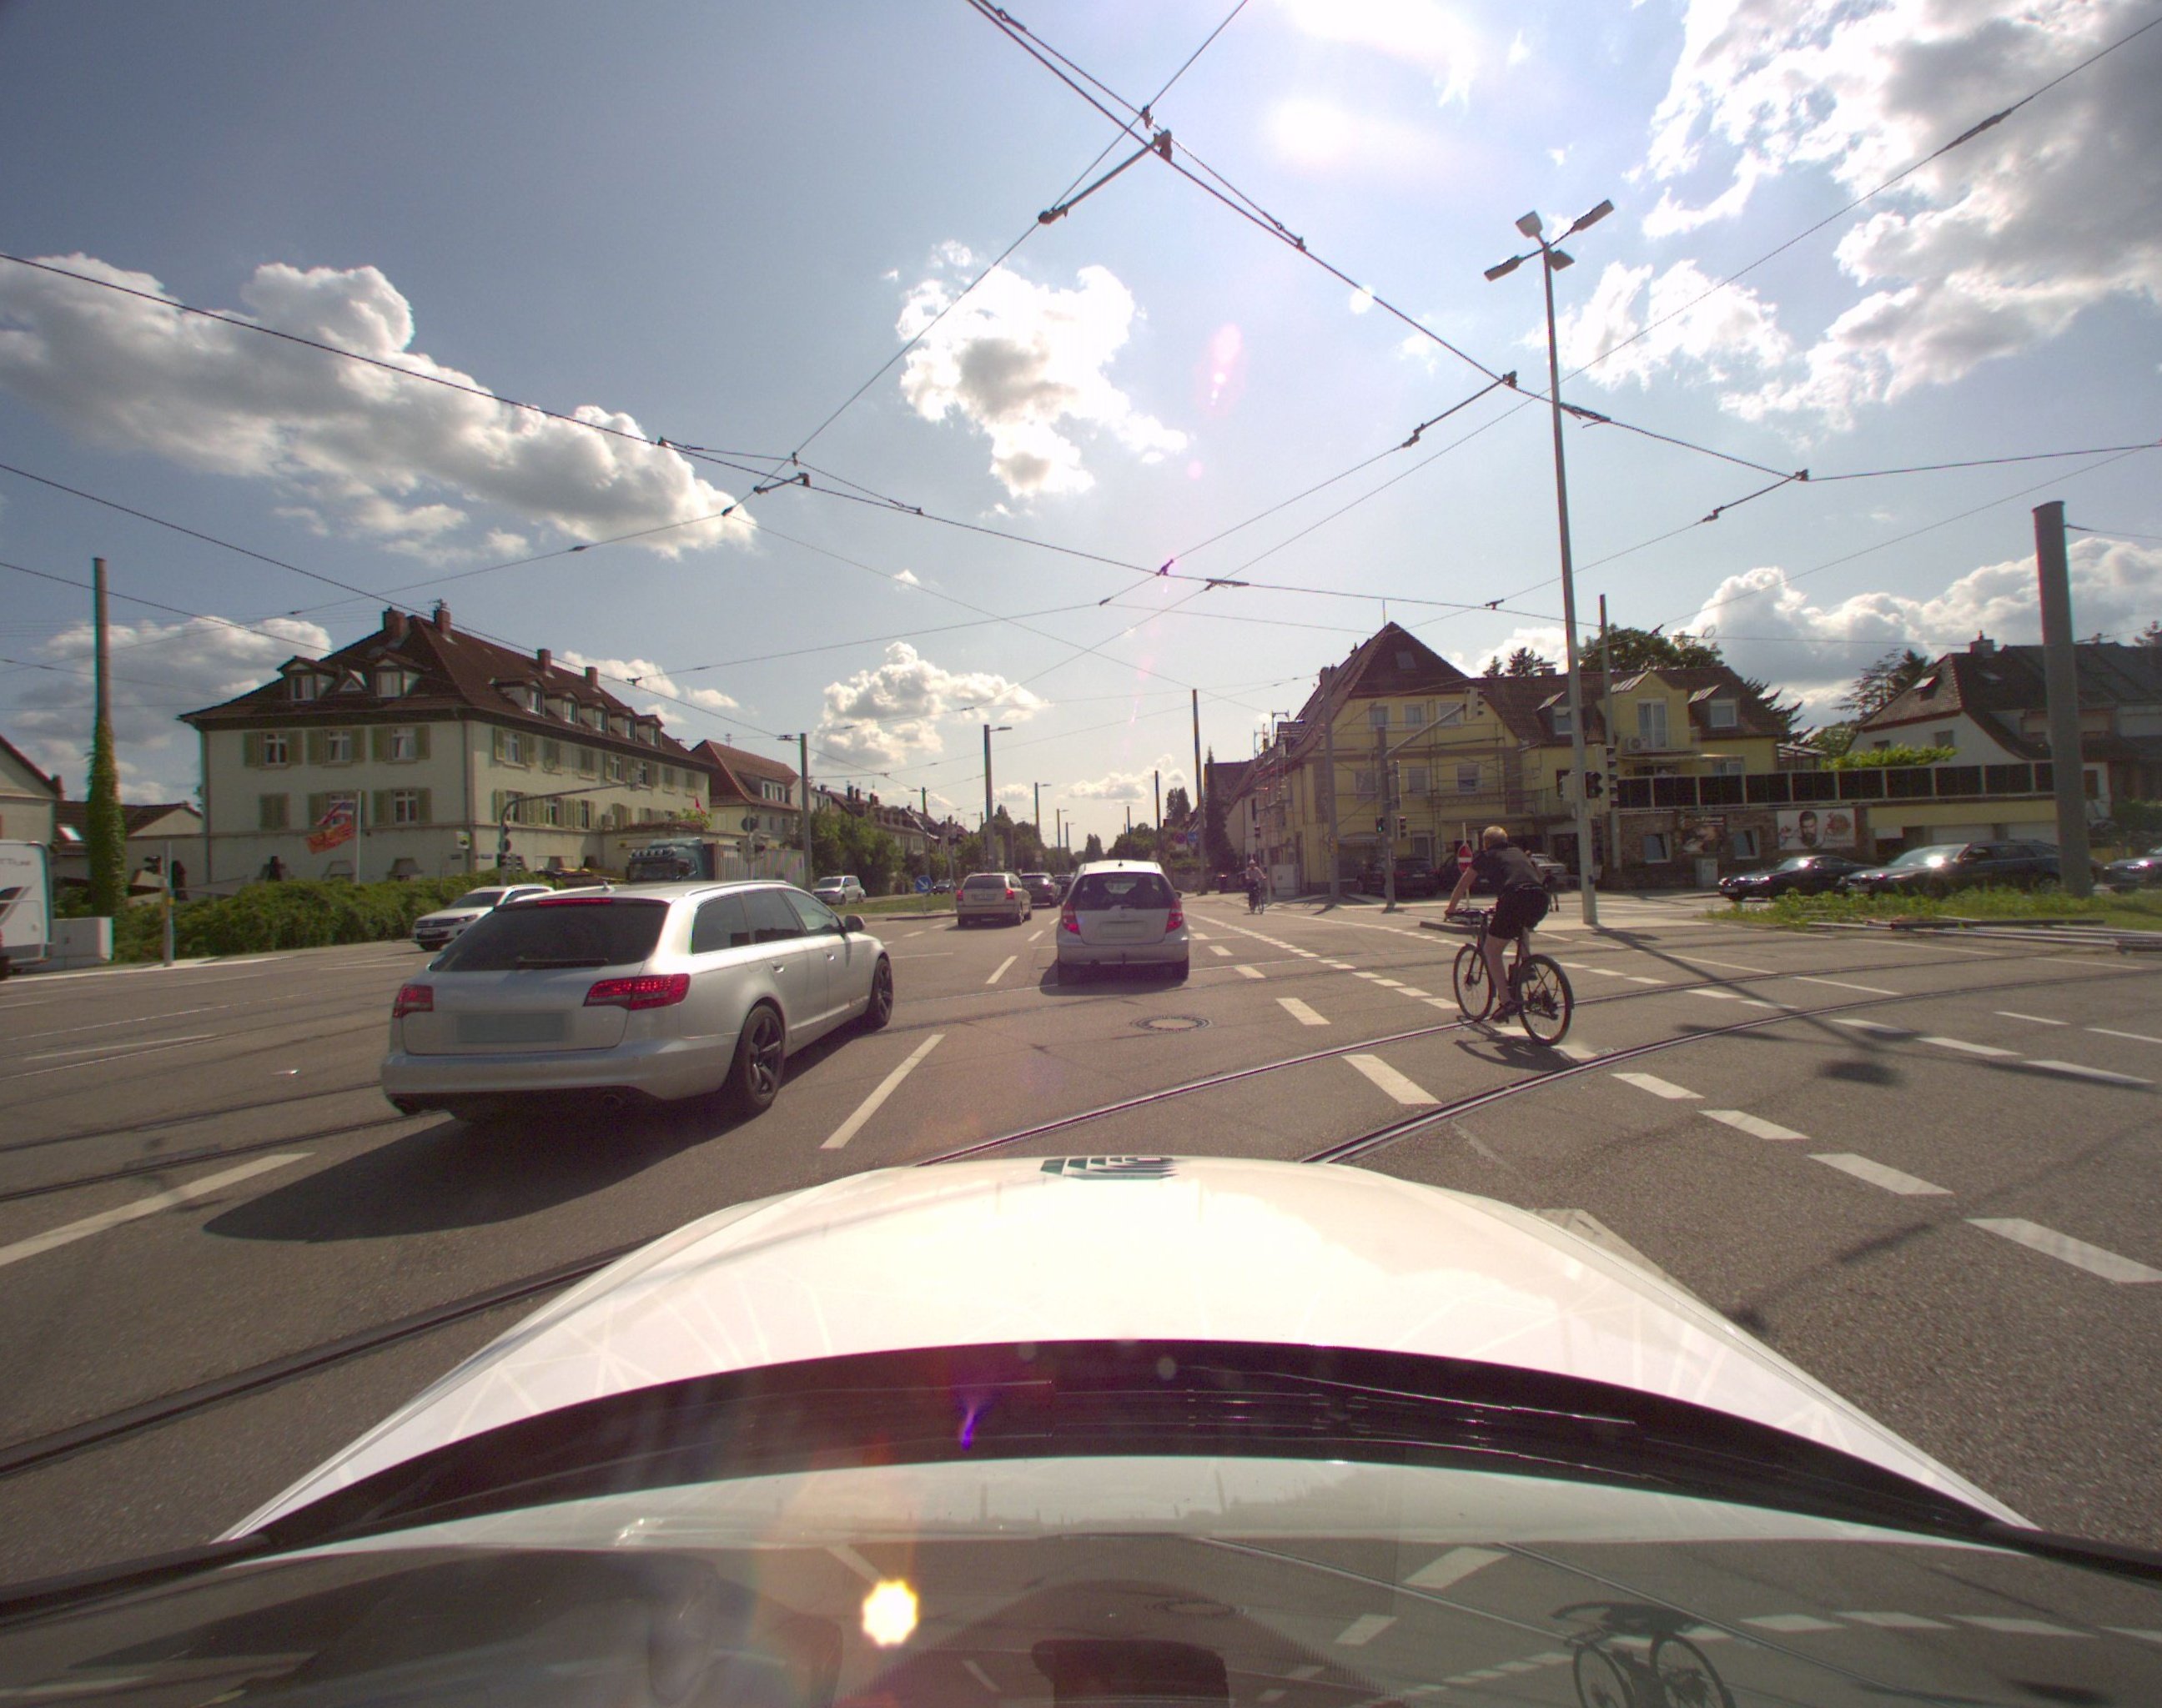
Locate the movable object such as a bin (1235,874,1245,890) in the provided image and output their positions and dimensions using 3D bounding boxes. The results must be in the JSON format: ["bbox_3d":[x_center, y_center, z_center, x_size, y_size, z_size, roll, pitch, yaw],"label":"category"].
[{"bbox_3d":[9.520,1.697,48.851,0.466,0.947,0.558,-2,-2,2],"label":"movable object such as a bin"}]

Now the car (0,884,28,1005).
[{"bbox_3d":[-17.097,1.370,9.918,1.984,1.776,4.883,-4,-1,4],"label":"car"}]

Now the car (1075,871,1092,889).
[{"bbox_3d":[0.257,2.857,89.528,1.846,1.843,3.917,-1,-2,0],"label":"car"}]

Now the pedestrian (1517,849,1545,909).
[{"bbox_3d":[12.507,0.686,22.642,0.544,1.644,0.402,-1,-2,6],"label":"pedestrian"}]

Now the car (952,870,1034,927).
[{"bbox_3d":[-2.420,1.214,23.383,1.724,1.449,4.125,-1,-1,2],"label":"car"}]

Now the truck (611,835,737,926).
[{"bbox_3d":[-19.221,1.210,38.881,2.587,3.821,5.674,-5,-1,5],"label":"truck"}]

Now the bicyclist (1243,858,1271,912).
[{"bbox_3d":[5.812,1.009,26.935,0.649,1.738,0.982,-1,-2,-5],"label":"bicyclist"}]

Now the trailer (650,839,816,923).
[{"bbox_3d":[-18.707,1.342,45.242,2.587,3.821,12.850,-5,-1,4],"label":"trailer"}]

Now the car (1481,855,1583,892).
[{"bbox_3d":[17.835,0.803,32.442,1.860,1.352,4.133,-1,-2,2],"label":"car"}]

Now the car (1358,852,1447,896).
[{"bbox_3d":[12.564,0.825,32.139,1.986,1.596,4.133,-1,-2,2],"label":"car"}]

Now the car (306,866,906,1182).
[{"bbox_3d":[-2.849,0.881,6.358,1.788,1.472,4.722,-2,-1,1],"label":"car"}]

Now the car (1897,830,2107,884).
[{"bbox_3d":[27.186,0.118,24.133,4.303,1.474,1.738,-1,-2,-2],"label":"car"}]

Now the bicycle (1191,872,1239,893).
[{"bbox_3d":[8.091,1.729,49.193,2.716,1.120,0.691,-3,-2,1],"label":"bicycle"}]

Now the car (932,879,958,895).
[{"bbox_3d":[-15.869,3.794,95.042,2.007,1.712,4.937,-3,-2,1],"label":"car"}]

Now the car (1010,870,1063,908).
[{"bbox_3d":[-1.864,1.483,35.223,1.909,1.477,4.563,-1,-2,1],"label":"car"}]

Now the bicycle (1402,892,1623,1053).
[{"bbox_3d":[3.580,0.925,7.011,0.825,1.075,1.971,-4,-1,1],"label":"bicycle"}]

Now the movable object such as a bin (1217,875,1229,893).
[{"bbox_3d":[7.475,1.597,43.020,0.509,0.918,0.742,-2,-2,2],"label":"movable object such as a bin"}]

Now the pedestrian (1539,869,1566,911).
[{"bbox_3d":[13.083,0.998,22.612,0.486,1.136,0.389,-1,-2,2],"label":"pedestrian"}]

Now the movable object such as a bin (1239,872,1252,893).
[{"bbox_3d":[8.683,1.519,43.097,0.509,1.105,0.855,-2,-2,2],"label":"movable object such as a bin"}]

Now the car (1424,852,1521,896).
[{"bbox_3d":[15.385,0.797,32.253,1.986,1.596,4.133,-1,-2,2],"label":"car"}]

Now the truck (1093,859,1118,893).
[{"bbox_3d":[1.933,1.777,65.216,1.846,2.553,5.854,-1,-2,0],"label":"truck"}]

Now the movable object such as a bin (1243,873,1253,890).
[{"bbox_3d":[10.008,1.655,48.835,0.466,0.947,0.558,-3,-2,2],"label":"movable object such as a bin"}]

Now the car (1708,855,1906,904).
[{"bbox_3d":[21.169,0.747,23.856,4.303,1.308,1.738,-1,-2,-2],"label":"car"}]

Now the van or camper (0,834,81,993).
[{"bbox_3d":[-21.166,1.113,12.235,2.314,2.930,7.760,-4,-1,3],"label":"van or camper"}]

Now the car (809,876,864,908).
[{"bbox_3d":[-15.189,2.360,50.853,1.788,1.815,4.713,-3,-2,2],"label":"car"}]

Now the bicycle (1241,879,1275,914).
[{"bbox_3d":[5.820,1.386,26.915,0.649,1.118,1.585,-1,-2,-5],"label":"bicycle"}]

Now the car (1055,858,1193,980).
[{"bbox_3d":[0.549,0.884,12.290,1.724,1.517,4.015,-1,-2,0],"label":"car"}]

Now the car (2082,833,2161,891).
[{"bbox_3d":[27.532,0.098,19.792,4.303,1.329,1.738,-3,-2,-2],"label":"car"}]

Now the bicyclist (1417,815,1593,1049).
[{"bbox_3d":[3.558,0.622,6.952,0.825,1.794,1.084,-4,-1,1],"label":"bicyclist"}]

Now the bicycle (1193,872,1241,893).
[{"bbox_3d":[8.090,1.696,48.443,2.652,1.105,0.786,-3,-2,1],"label":"bicycle"}]

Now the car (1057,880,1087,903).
[{"bbox_3d":[-0.512,2.413,52.764,1.846,1.388,4.513,-1,-2,0],"label":"car"}]

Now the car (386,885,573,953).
[{"bbox_3d":[-16.828,1.756,23.099,1.986,1.552,4.179,-6,-2,2],"label":"car"}]

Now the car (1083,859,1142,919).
[{"bbox_3d":[0.991,1.095,26.198,1.723,1.762,4.017,-1,-2,2],"label":"car"}]

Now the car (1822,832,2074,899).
[{"bbox_3d":[20.984,0.286,19.838,4.303,1.329,1.738,-3,-2,-2],"label":"car"}]

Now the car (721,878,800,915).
[{"bbox_3d":[-15.715,2.061,40.164,1.787,1.637,4.475,-3,-2,4],"label":"car"}]
